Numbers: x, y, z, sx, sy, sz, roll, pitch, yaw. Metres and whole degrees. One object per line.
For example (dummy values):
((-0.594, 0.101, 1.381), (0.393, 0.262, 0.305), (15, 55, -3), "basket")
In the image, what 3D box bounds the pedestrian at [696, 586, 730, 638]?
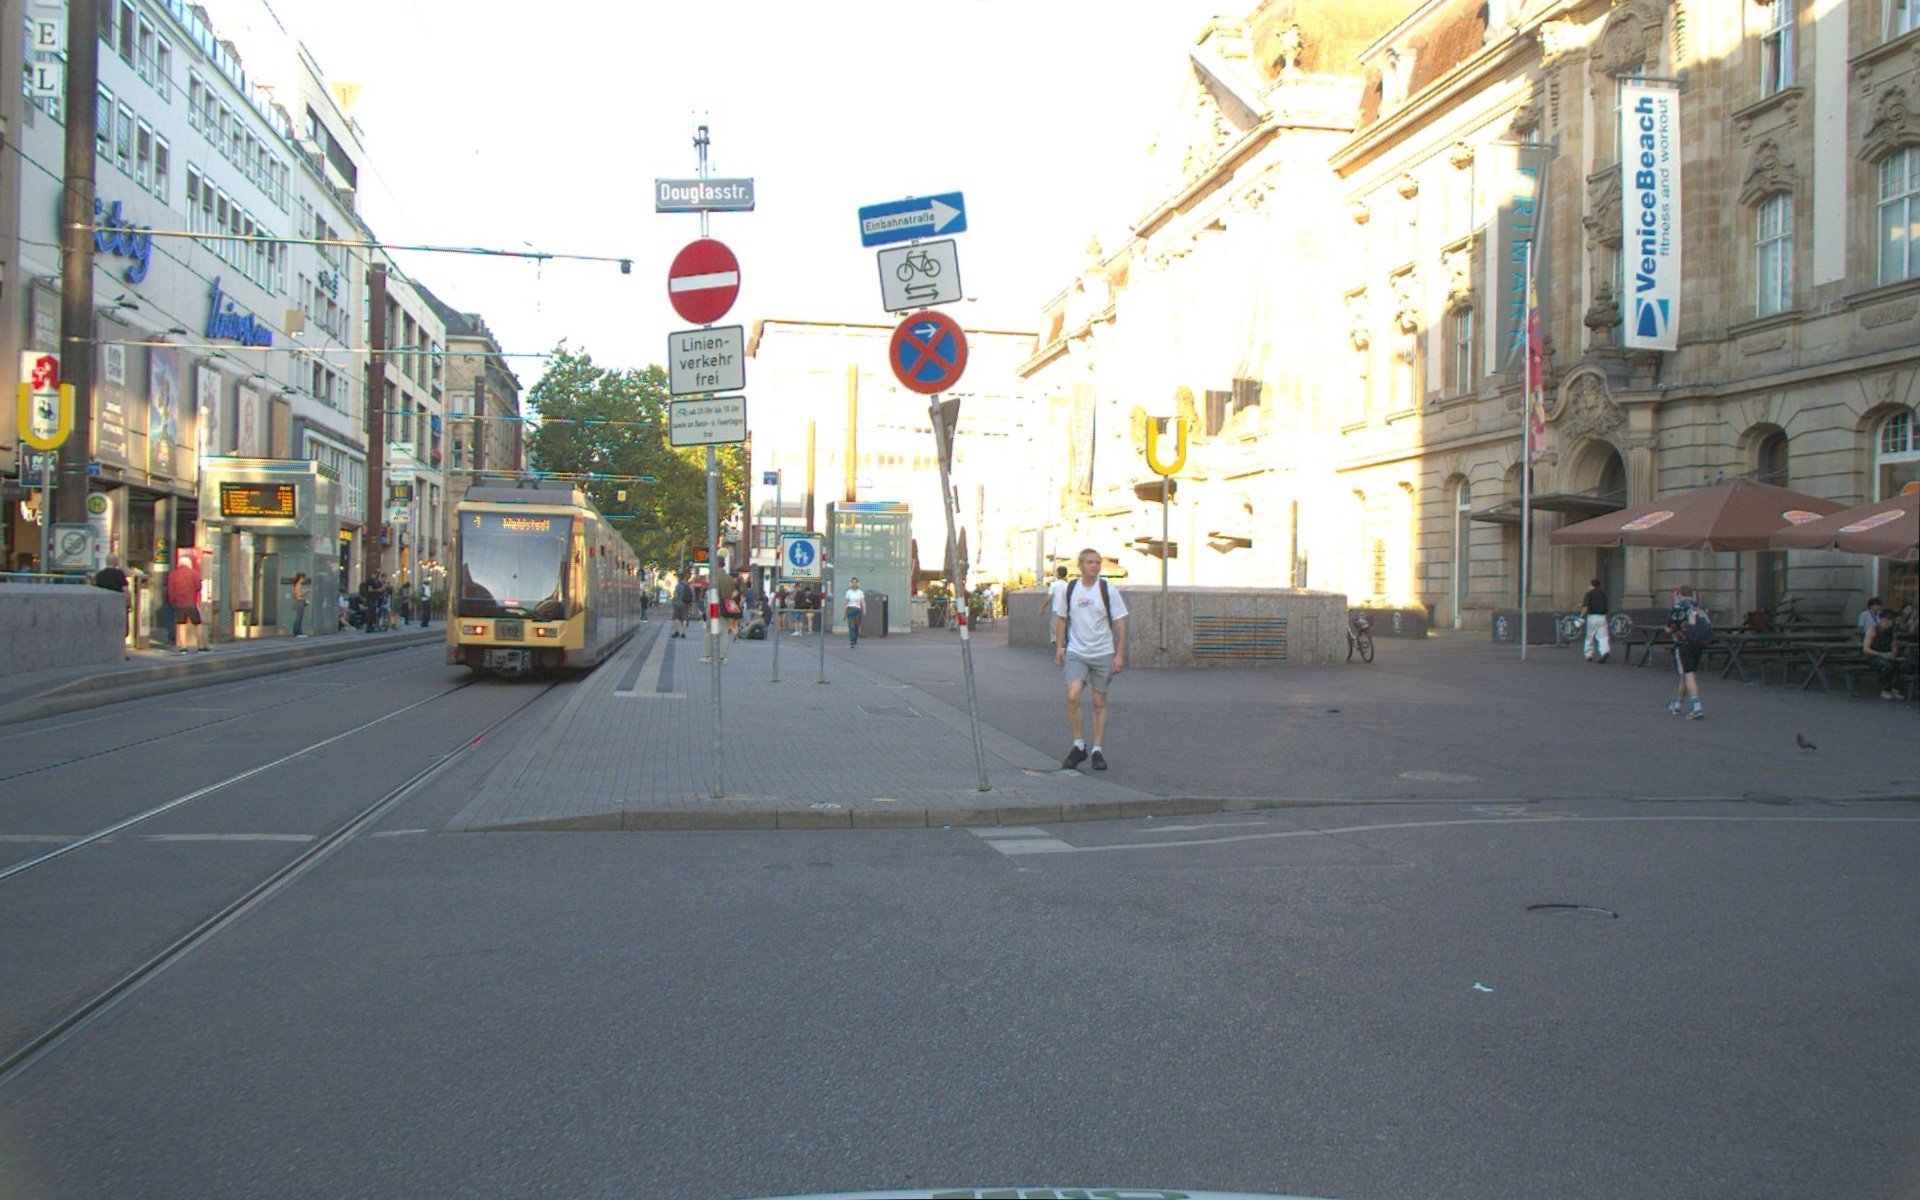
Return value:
((-7.824, 0.368, 52.322), (0.751, 1.606, 0.795), (1, 0, 20), "pedestrian")

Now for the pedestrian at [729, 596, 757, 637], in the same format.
((-6.710, 0.495, 51.153), (0.778, 1.243, 0.767), (1, 0, -13), "pedestrian")

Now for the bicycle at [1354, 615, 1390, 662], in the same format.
((8.009, 0.739, 32.169), (0.310, 0.882, 0.997), (0, 0, -10), "bicycle")

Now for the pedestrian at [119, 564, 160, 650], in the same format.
((-15.618, 0.137, 31.508), (0.594, 1.616, 0.625), (1, -1, -19), "pedestrian")

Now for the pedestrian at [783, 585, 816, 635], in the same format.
((-5.430, 0.331, 56.051), (0.780, 1.690, 0.765), (1, 0, 39), "pedestrian")

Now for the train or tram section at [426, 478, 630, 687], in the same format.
((-8.474, -0.325, 34.163), (2.749, 3.377, 14.475), (1, 0, -10), "train or tram section")

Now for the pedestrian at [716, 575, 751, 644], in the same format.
((-6.178, 0.268, 45.130), (0.724, 1.855, 0.814), (1, 0, -24), "pedestrian")

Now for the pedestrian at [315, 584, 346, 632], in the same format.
((-18.451, 0.237, 48.498), (0.694, 1.403, 0.718), (1, -1, -11), "pedestrian")

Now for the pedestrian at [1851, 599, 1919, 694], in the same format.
((14.325, 0.708, 25.473), (0.787, 1.407, 0.653), (2, 2, 1), "pedestrian")

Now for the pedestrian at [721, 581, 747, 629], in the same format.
((-7.972, 0.172, 58.425), (0.776, 1.690, 0.769), (1, 0, 2), "pedestrian")

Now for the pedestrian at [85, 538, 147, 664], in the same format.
((-13.362, 0.022, 26.200), (0.701, 1.959, 0.707), (1, -1, -14), "pedestrian")

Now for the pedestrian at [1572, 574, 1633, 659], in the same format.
((12.340, 0.307, 31.778), (0.830, 1.593, 0.850), (1, 1, 2), "pedestrian")

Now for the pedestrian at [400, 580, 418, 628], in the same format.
((-20.513, 0.149, 61.560), (0.591, 1.757, 0.605), (1, -1, -16), "pedestrian")

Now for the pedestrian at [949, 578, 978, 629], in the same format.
((0.130, 0.112, 60.626), (0.834, 1.855, 0.771), (1, 0, -19), "pedestrian")

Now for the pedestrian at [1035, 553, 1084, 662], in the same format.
((1.910, 0.144, 31.696), (0.753, 2.049, 0.918), (1, -1, 12), "pedestrian")

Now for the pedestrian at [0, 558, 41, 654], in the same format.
((-16.247, 0.108, 28.394), (0.593, 1.616, 0.625), (0, -1, 38), "pedestrian")

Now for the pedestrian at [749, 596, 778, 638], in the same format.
((-5.998, 0.509, 50.462), (0.778, 1.243, 0.767), (1, 0, -13), "pedestrian")

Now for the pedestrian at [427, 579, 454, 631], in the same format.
((-17.683, 0.167, 56.349), (0.759, 1.756, 0.708), (1, -1, -10), "pedestrian")

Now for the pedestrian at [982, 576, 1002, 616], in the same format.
((1.505, -0.181, 78.475), (0.759, 1.857, 0.847), (1, 0, -13), "pedestrian")

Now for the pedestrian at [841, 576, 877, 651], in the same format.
((-2.552, 0.336, 41.880), (0.759, 1.855, 0.937), (-1, 0, -13), "pedestrian")

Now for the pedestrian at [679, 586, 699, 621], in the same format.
((-13.122, 0.178, 80.185), (0.776, 1.690, 0.769), (1, 0, 2), "pedestrian")

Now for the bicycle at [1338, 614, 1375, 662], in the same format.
((7.694, 0.731, 32.112), (0.310, 0.882, 0.997), (0, 0, -10), "bicycle")

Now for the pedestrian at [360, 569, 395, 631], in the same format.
((-16.594, 0.011, 47.154), (0.703, 1.756, 0.764), (1, -1, -40), "pedestrian")

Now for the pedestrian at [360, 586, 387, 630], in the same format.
((-19.093, 0.255, 53.856), (0.694, 1.403, 0.718), (1, -1, -11), "pedestrian")

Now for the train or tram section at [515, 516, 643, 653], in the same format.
((-10.864, -0.427, 48.418), (2.749, 3.377, 14.475), (1, 0, -10), "train or tram section")

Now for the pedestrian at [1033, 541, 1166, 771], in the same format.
((1.189, 0.467, 14.330), (0.993, 1.896, 1.042), (1, -1, -2), "pedestrian")

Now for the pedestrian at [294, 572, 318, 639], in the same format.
((-16.272, 0.142, 41.150), (0.503, 1.646, 0.502), (1, -1, -19), "pedestrian")

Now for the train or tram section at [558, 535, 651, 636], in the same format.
((-13.266, -0.526, 62.703), (2.749, 3.377, 14.475), (1, 0, -10), "train or tram section")

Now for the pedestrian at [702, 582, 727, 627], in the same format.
((-9.363, 0.166, 63.037), (0.776, 1.690, 0.769), (1, 0, 2), "pedestrian")

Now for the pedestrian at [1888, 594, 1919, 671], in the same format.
((17.005, 0.581, 29.418), (0.581, 1.331, 0.580), (1, 2, -12), "pedestrian")

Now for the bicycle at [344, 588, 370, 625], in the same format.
((-19.228, 0.194, 52.704), (0.429, 1.162, 1.600), (1, 0, -33), "bicycle")

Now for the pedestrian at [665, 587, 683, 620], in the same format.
((-14.778, 0.172, 85.501), (0.751, 1.690, 0.795), (1, 0, -1), "pedestrian")

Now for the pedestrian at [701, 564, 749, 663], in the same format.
((-4.261, 0.246, 29.970), (0.708, 1.756, 0.704), (1, -1, -23), "pedestrian")

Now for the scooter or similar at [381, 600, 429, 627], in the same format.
((-18.169, 0.443, 54.205), (0.547, 0.845, 1.523), (0, -1, 29), "scooter or similar")

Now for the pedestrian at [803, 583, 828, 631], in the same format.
((-5.161, 0.249, 59.056), (0.776, 1.690, 0.769), (1, 0, 2), "pedestrian")

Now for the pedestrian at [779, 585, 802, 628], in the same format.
((-6.807, 0.254, 66.524), (0.776, 1.690, 0.769), (1, 0, 2), "pedestrian")

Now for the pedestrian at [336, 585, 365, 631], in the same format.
((-18.634, 0.246, 50.594), (0.694, 1.403, 0.718), (1, -1, -11), "pedestrian")

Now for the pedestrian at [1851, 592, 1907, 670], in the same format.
((16.348, 0.550, 29.414), (0.582, 1.331, 0.580), (1, 2, -14), "pedestrian")

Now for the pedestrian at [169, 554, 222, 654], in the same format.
((-13.514, 0.080, 29.246), (0.702, 1.727, 0.783), (1, -1, -15), "pedestrian")

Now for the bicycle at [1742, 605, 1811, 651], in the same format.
((16.592, 0.573, 33.598), (1.295, 0.909, 0.409), (0, 1, -14), "bicycle")

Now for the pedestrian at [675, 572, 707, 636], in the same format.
((-7.899, 0.120, 48.501), (0.724, 1.855, 0.814), (1, 0, -24), "pedestrian")

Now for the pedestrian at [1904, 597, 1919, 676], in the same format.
((16.668, 0.643, 28.285), (0.597, 1.331, 0.607), (1, 2, -14), "pedestrian")

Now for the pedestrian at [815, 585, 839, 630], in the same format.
((-5.045, 0.275, 62.738), (0.776, 1.690, 0.769), (1, 0, 2), "pedestrian")

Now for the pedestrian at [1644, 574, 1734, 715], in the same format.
((9.742, 0.580, 22.114), (0.793, 1.855, 0.805), (0, 1, -5), "pedestrian")

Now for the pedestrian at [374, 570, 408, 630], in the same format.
((-16.838, -0.008, 48.942), (0.702, 1.756, 0.765), (1, -1, -39), "pedestrian")
